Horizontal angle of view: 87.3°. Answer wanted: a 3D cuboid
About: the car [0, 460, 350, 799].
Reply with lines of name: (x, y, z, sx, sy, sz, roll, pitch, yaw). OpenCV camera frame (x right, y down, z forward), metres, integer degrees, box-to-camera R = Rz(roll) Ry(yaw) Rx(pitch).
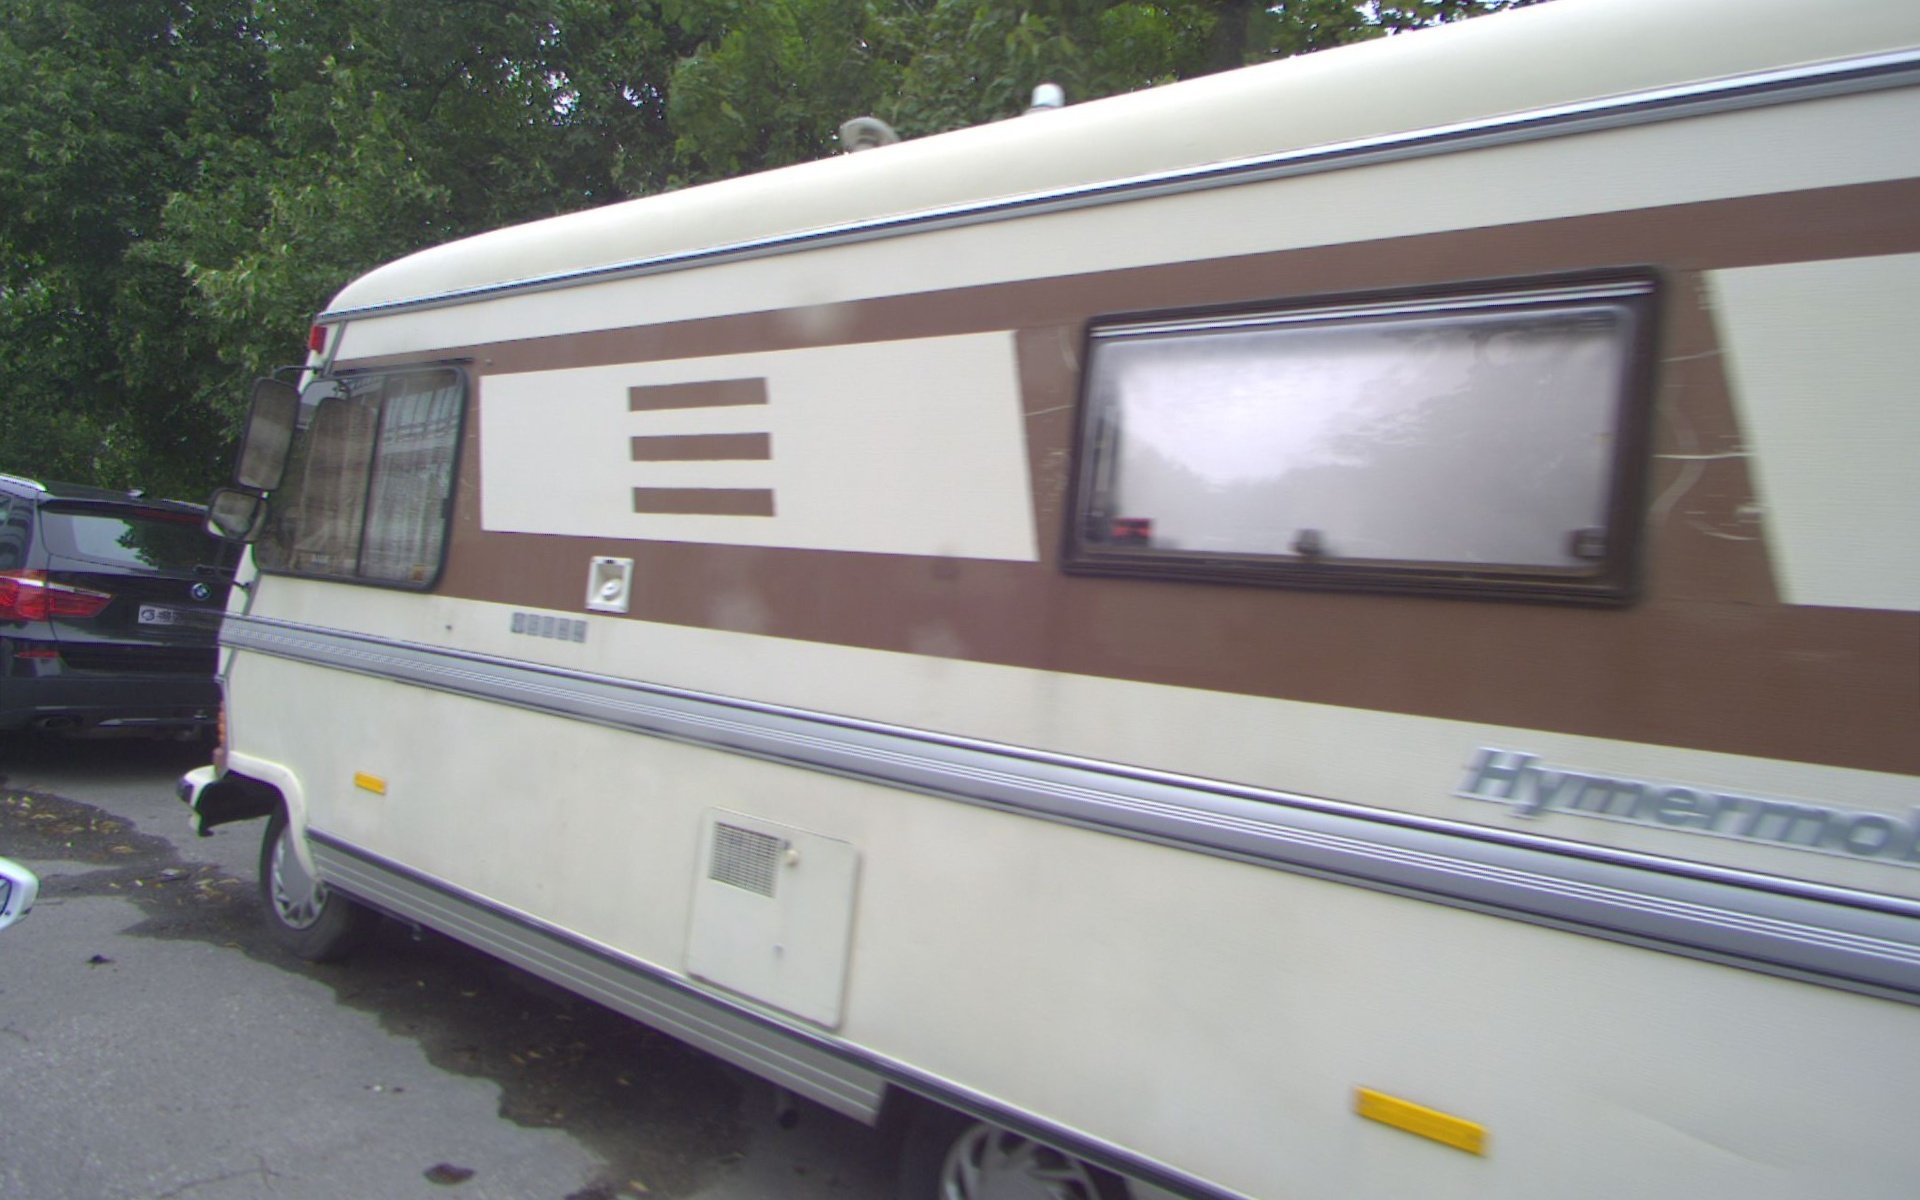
car: (-6.369, 0.009, 6.600, 4.380, 1.668, 1.782, 6, -2, 25)

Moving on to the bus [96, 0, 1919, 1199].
bus: (-0.101, 0.145, 3.256, 5.640, 2.730, 2.319, 6, -2, 32)
